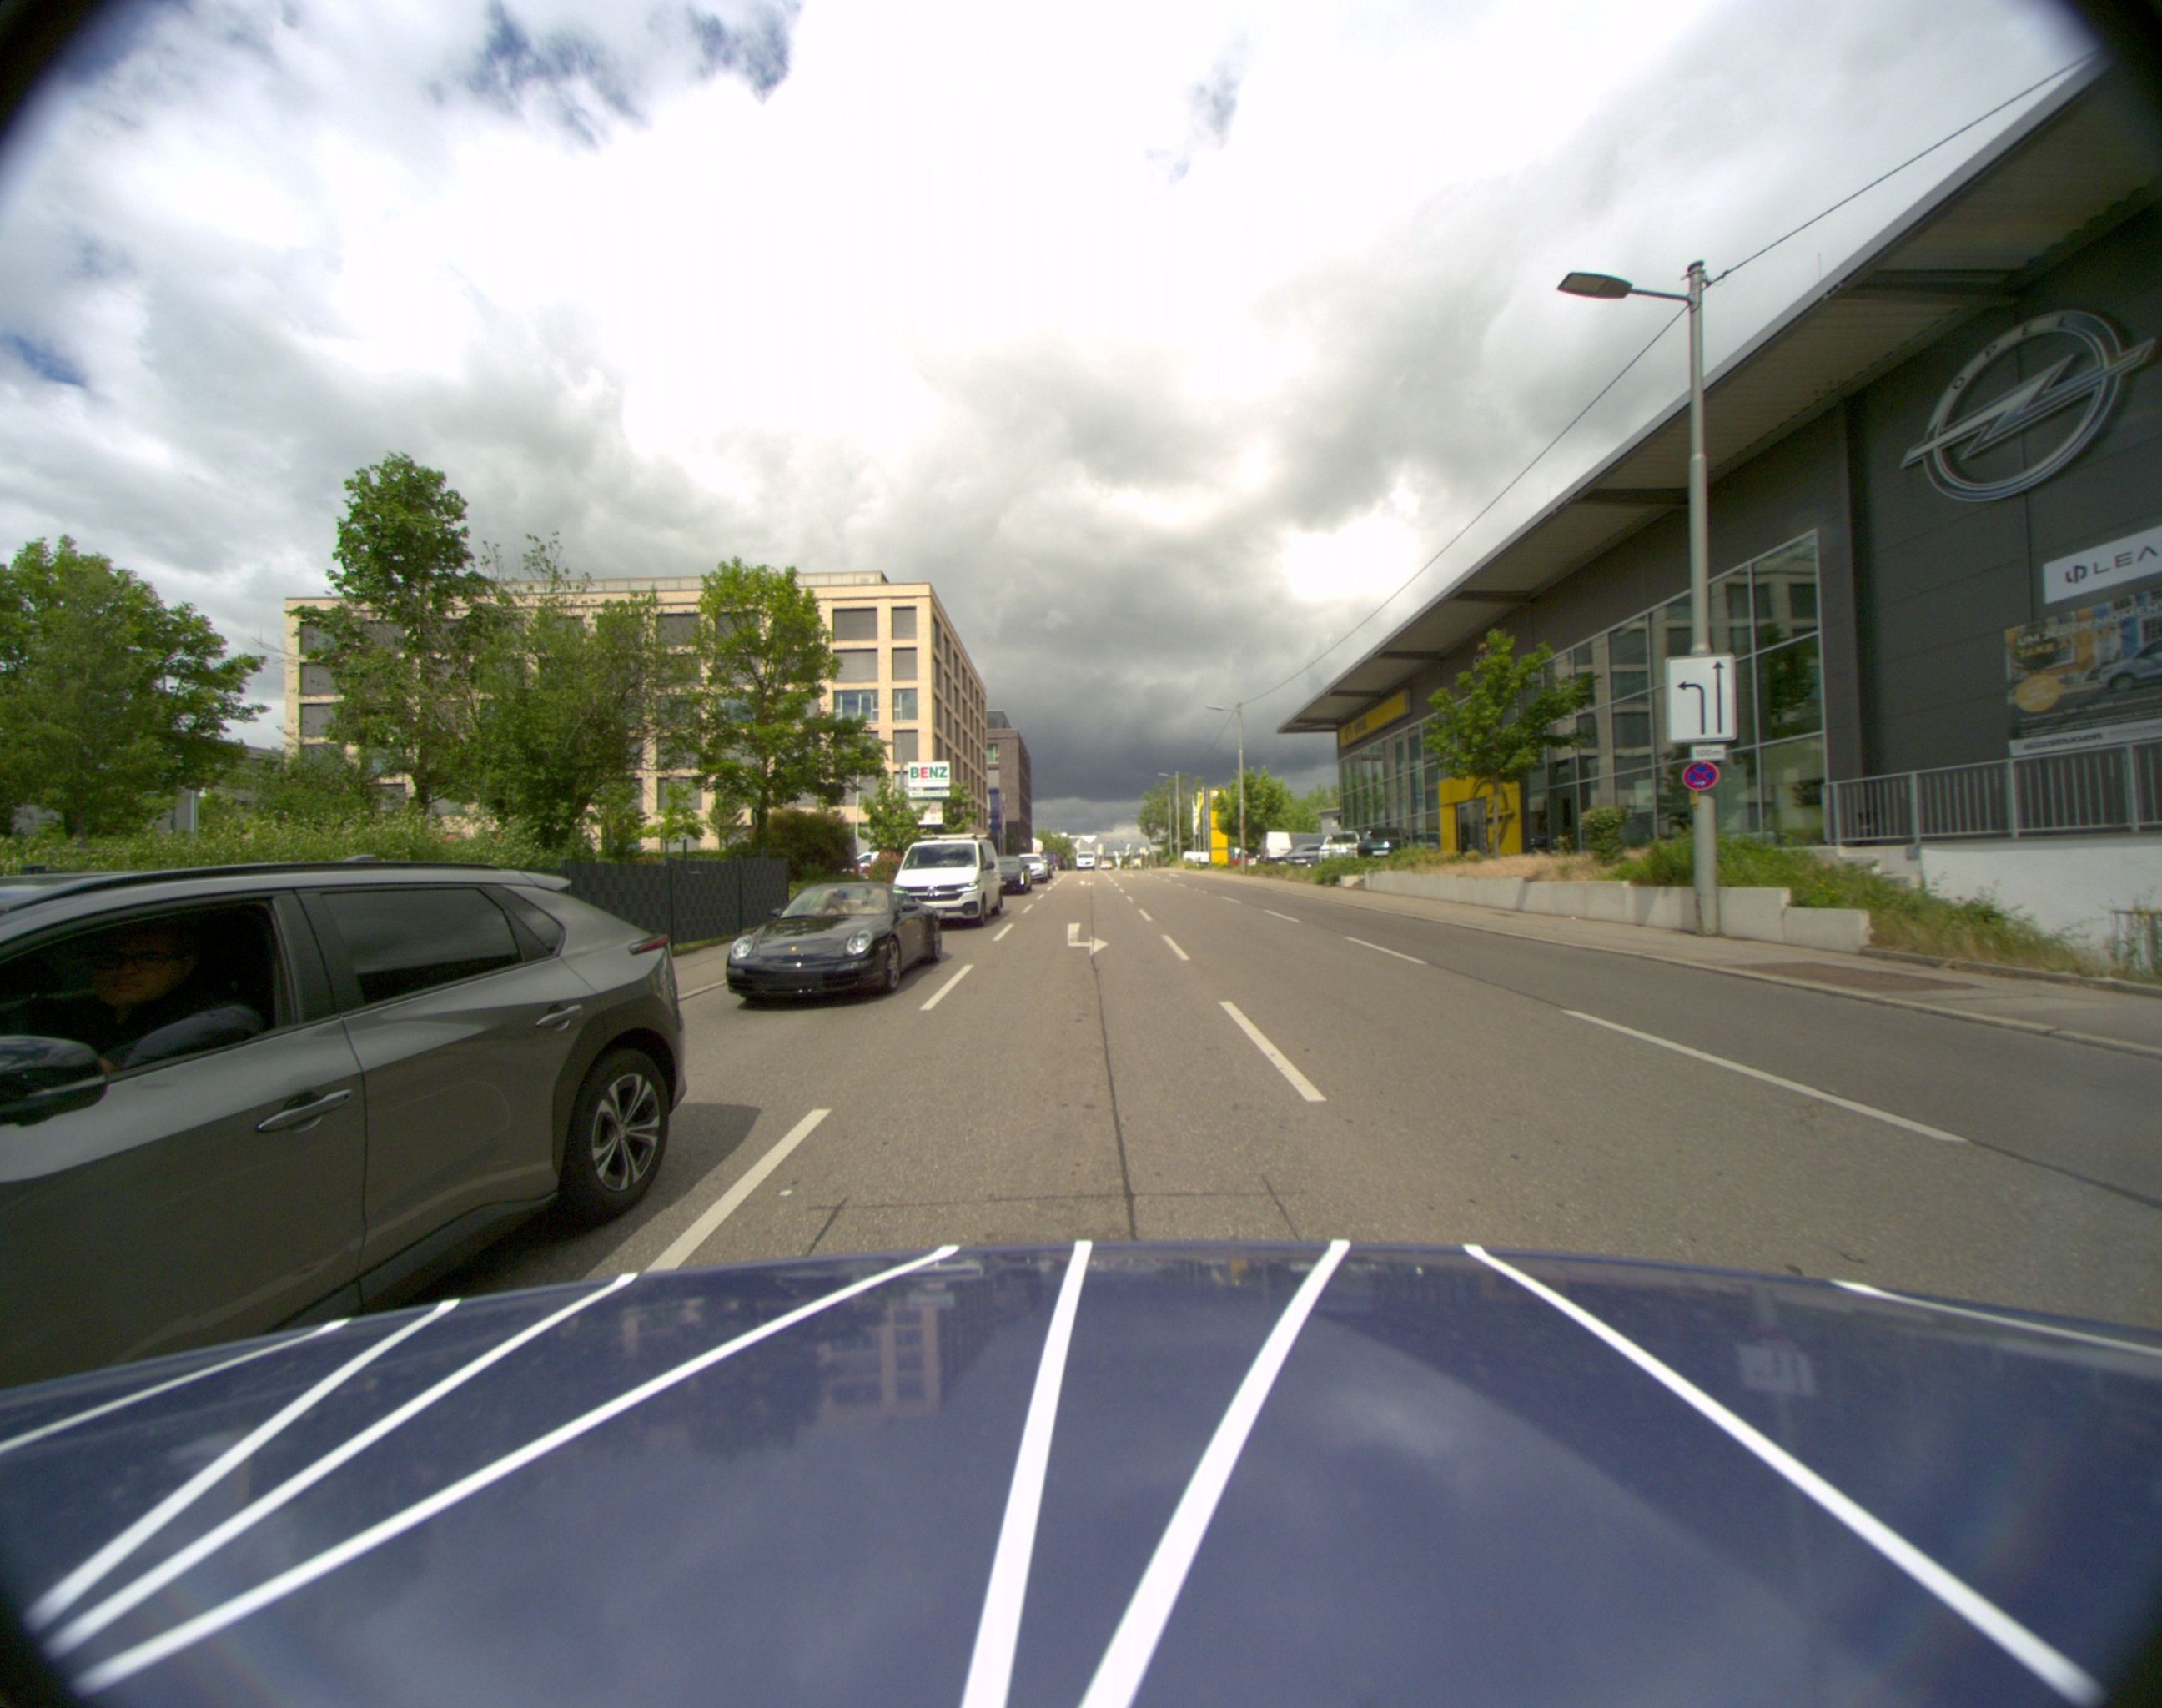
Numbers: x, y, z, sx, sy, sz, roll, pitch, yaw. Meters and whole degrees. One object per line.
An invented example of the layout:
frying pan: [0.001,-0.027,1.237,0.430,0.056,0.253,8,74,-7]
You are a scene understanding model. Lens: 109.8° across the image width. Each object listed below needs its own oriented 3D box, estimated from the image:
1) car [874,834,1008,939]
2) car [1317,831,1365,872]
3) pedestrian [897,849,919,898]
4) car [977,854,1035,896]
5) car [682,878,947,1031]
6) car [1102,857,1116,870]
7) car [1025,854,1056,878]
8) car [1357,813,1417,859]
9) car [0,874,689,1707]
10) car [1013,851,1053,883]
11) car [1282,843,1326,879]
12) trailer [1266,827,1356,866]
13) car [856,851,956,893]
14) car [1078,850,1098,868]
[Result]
car: [-3.044,0.618,17.656,2.089,2.037,4.759,-2,1,1]
car: [12.184,-0.150,35.434,1.995,1.783,4.005,0,1,20]
pedestrian: [-6.099,0.685,26.761,0.602,1.710,0.553,-1,1,1]
car: [-2.849,0.780,29.603,1.818,1.454,3.999,-1,1,1]
car: [-3.012,1.066,9.586,1.824,1.286,4.037,-2,1,1]
car: [4.382,1.472,118.920,1.998,1.731,4.546,-2,1,1]
car: [-2.458,0.744,47.388,1.662,1.351,3.999,-1,1,1]
car: [12.290,-0.709,30.743,1.996,1.718,4.005,0,1,18]
car: [-3.023,0.963,1.567,1.998,1.620,4.579,-1,1,0]
car: [-2.508,0.665,40.442,1.818,1.577,3.999,-1,1,1]
car: [12.058,0.339,40.878,1.995,1.783,4.005,0,1,20]
trailer: [14.486,-0.505,48.012,5.074,2.336,1.999,-1,1,-1]
car: [-7.653,0.754,33.572,3.998,1.723,1.822,-1,1,-3]
car: [0.786,0.488,81.873,1.998,1.819,4.547,-2,1,2]
